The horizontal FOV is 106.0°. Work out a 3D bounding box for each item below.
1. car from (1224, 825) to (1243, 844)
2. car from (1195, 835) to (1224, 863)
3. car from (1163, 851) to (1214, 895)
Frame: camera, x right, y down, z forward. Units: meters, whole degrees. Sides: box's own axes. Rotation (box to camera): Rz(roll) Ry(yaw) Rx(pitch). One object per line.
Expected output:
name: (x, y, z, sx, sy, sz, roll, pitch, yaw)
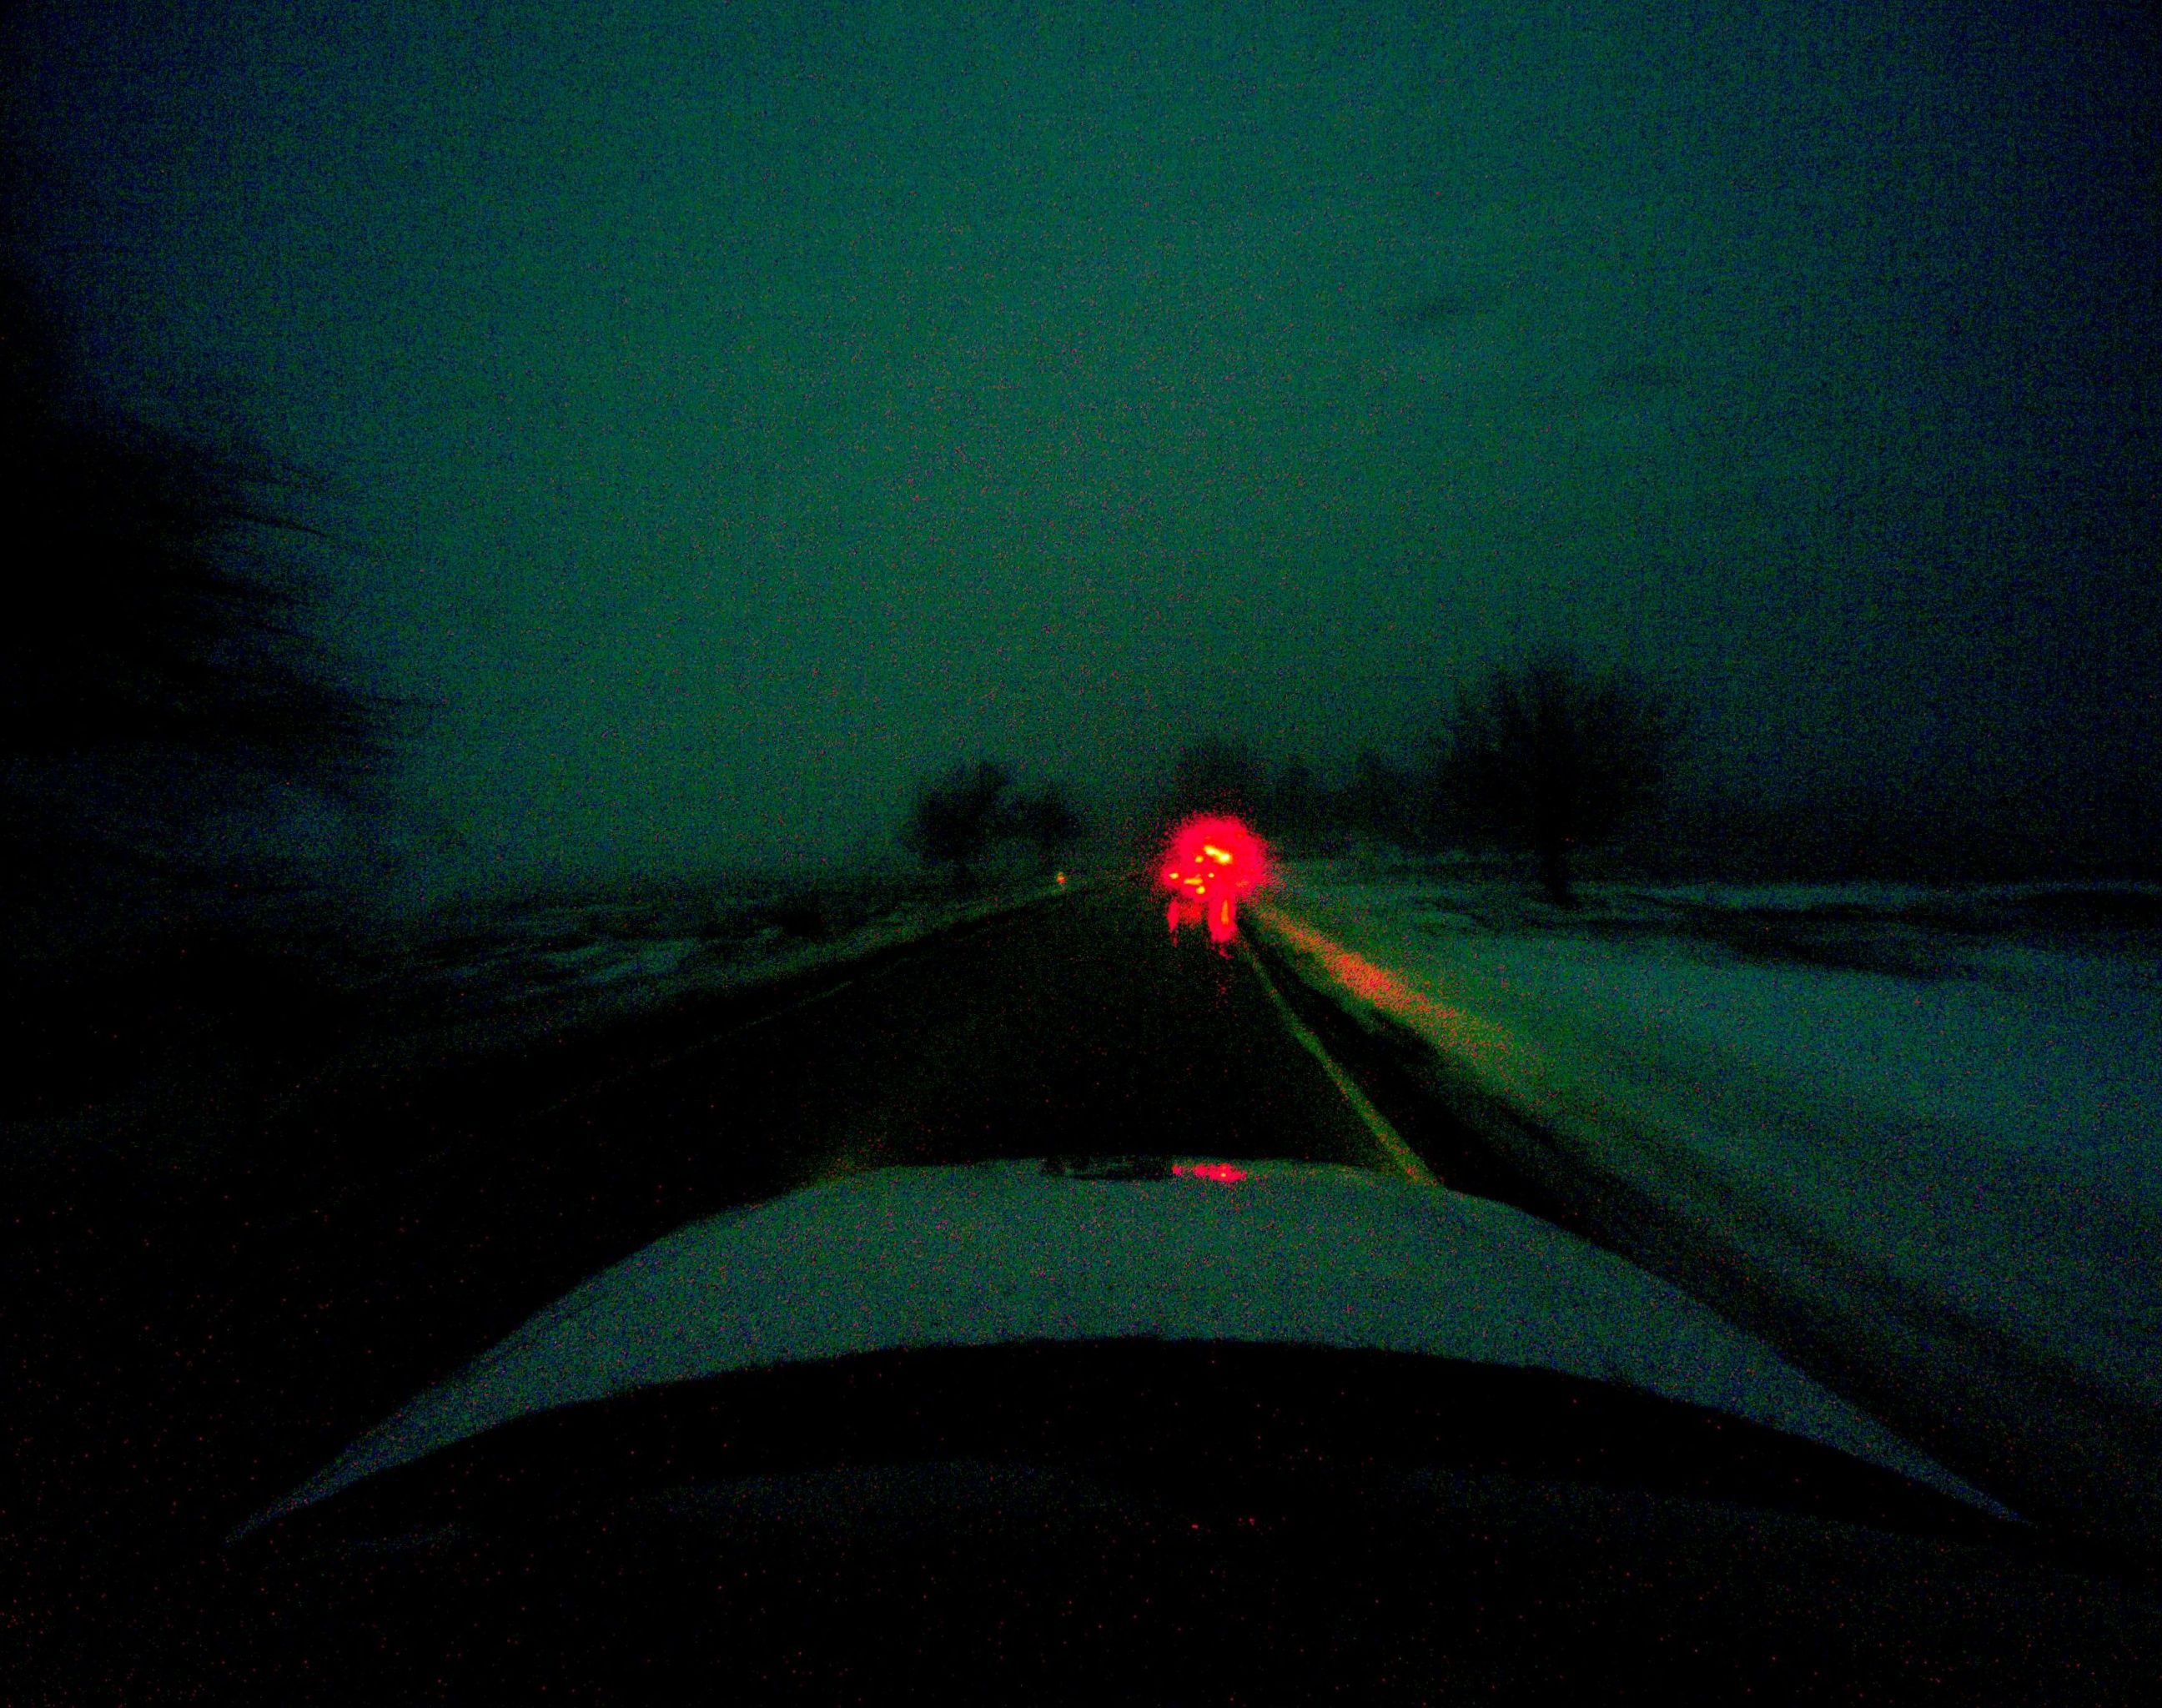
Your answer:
car: (13.068, -1.636, 69.742, 1.513, 1.508, 3.062, -3, -1, 11)
car: (7.357, -0.304, 46.523, 1.469, 1.508, 3.062, -3, 0, 11)
car: (3.855, 0.663, 29.206, 1.697, 1.463, 4.008, 1, -1, 8)
